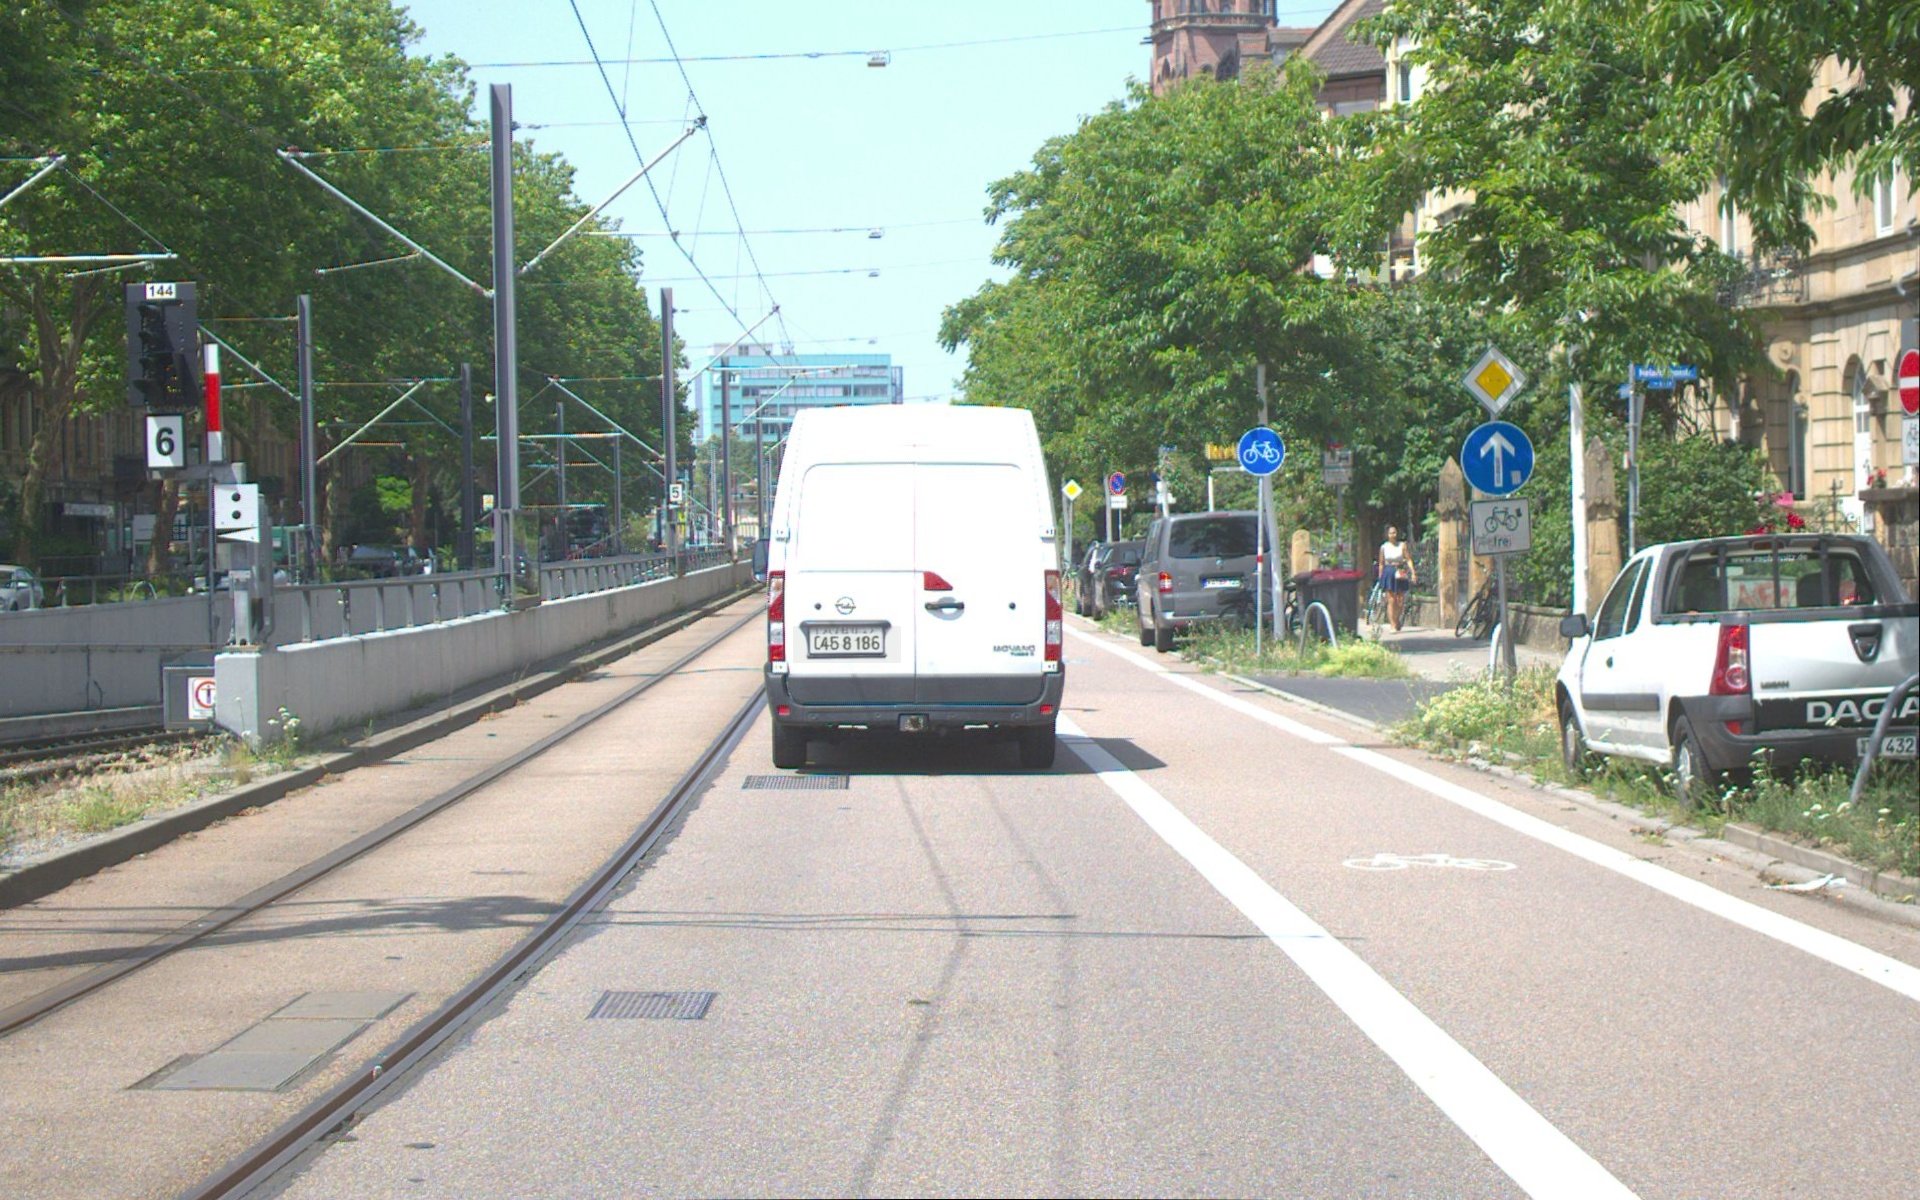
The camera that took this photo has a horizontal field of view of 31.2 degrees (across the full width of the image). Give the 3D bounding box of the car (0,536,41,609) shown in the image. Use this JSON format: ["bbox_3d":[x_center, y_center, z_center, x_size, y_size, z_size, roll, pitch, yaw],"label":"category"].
[{"bbox_3d":[-21.496,-0.605,75.248,1.789,1.551,4.087,-1,1,-2],"label":"car"}]

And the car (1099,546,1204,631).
[{"bbox_3d":[3.641,-0.250,65.775,1.667,1.525,4.013,-1,1,-1],"label":"car"}]

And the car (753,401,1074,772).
[{"bbox_3d":[-0.417,-0.145,25.428,2.117,2.450,5.055,-1,1,-2],"label":"car"}]

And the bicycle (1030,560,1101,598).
[{"bbox_3d":[2.773,-0.557,90.771,1.842,0.950,0.503,-1,1,1],"label":"bicycle"}]

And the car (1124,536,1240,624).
[{"bbox_3d":[3.754,-0.366,58.757,1.611,1.401,4.000,-1,1,-1],"label":"car"}]

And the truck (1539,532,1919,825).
[{"bbox_3d":[4.735,0.370,20.307,1.789,1.521,4.466,0,1,-1],"label":"truck"}]

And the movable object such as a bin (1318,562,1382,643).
[{"bbox_3d":[5.027,0.031,44.328,0.787,1.010,0.650,-1,1,5],"label":"movable object such as a bin"}]

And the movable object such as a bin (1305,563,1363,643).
[{"bbox_3d":[4.971,0.038,45.685,0.746,1.058,0.496,0,1,5],"label":"movable object such as a bin"}]

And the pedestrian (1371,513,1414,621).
[{"bbox_3d":[6.418,-0.498,51.045,0.552,1.592,0.728,0,1,1],"label":"pedestrian"}]

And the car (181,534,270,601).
[{"bbox_3d":[-19.177,-0.871,89.904,1.653,1.678,3.708,-1,1,-2],"label":"car"}]

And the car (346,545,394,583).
[{"bbox_3d":[-22.992,-1.410,134.008,1.373,1.419,3.088,-1,1,-1],"label":"car"}]

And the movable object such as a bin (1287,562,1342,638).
[{"bbox_3d":[4.783,-0.007,46.354,0.595,1.007,0.566,-1,1,-11],"label":"movable object such as a bin"}]

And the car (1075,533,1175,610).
[{"bbox_3d":[3.408,-0.624,71.641,1.729,1.530,4.405,-1,1,-2],"label":"car"}]

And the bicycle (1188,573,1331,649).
[{"bbox_3d":[4.111,0.148,47.156,1.880,0.988,0.470,-1,1,-11],"label":"bicycle"}]

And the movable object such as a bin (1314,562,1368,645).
[{"bbox_3d":[4.976,0.044,44.920,0.669,1.058,0.496,-1,1,5],"label":"movable object such as a bin"}]

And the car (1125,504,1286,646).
[{"bbox_3d":[3.593,-0.410,51.118,1.879,1.941,4.837,-2,1,-1],"label":"car"}]
